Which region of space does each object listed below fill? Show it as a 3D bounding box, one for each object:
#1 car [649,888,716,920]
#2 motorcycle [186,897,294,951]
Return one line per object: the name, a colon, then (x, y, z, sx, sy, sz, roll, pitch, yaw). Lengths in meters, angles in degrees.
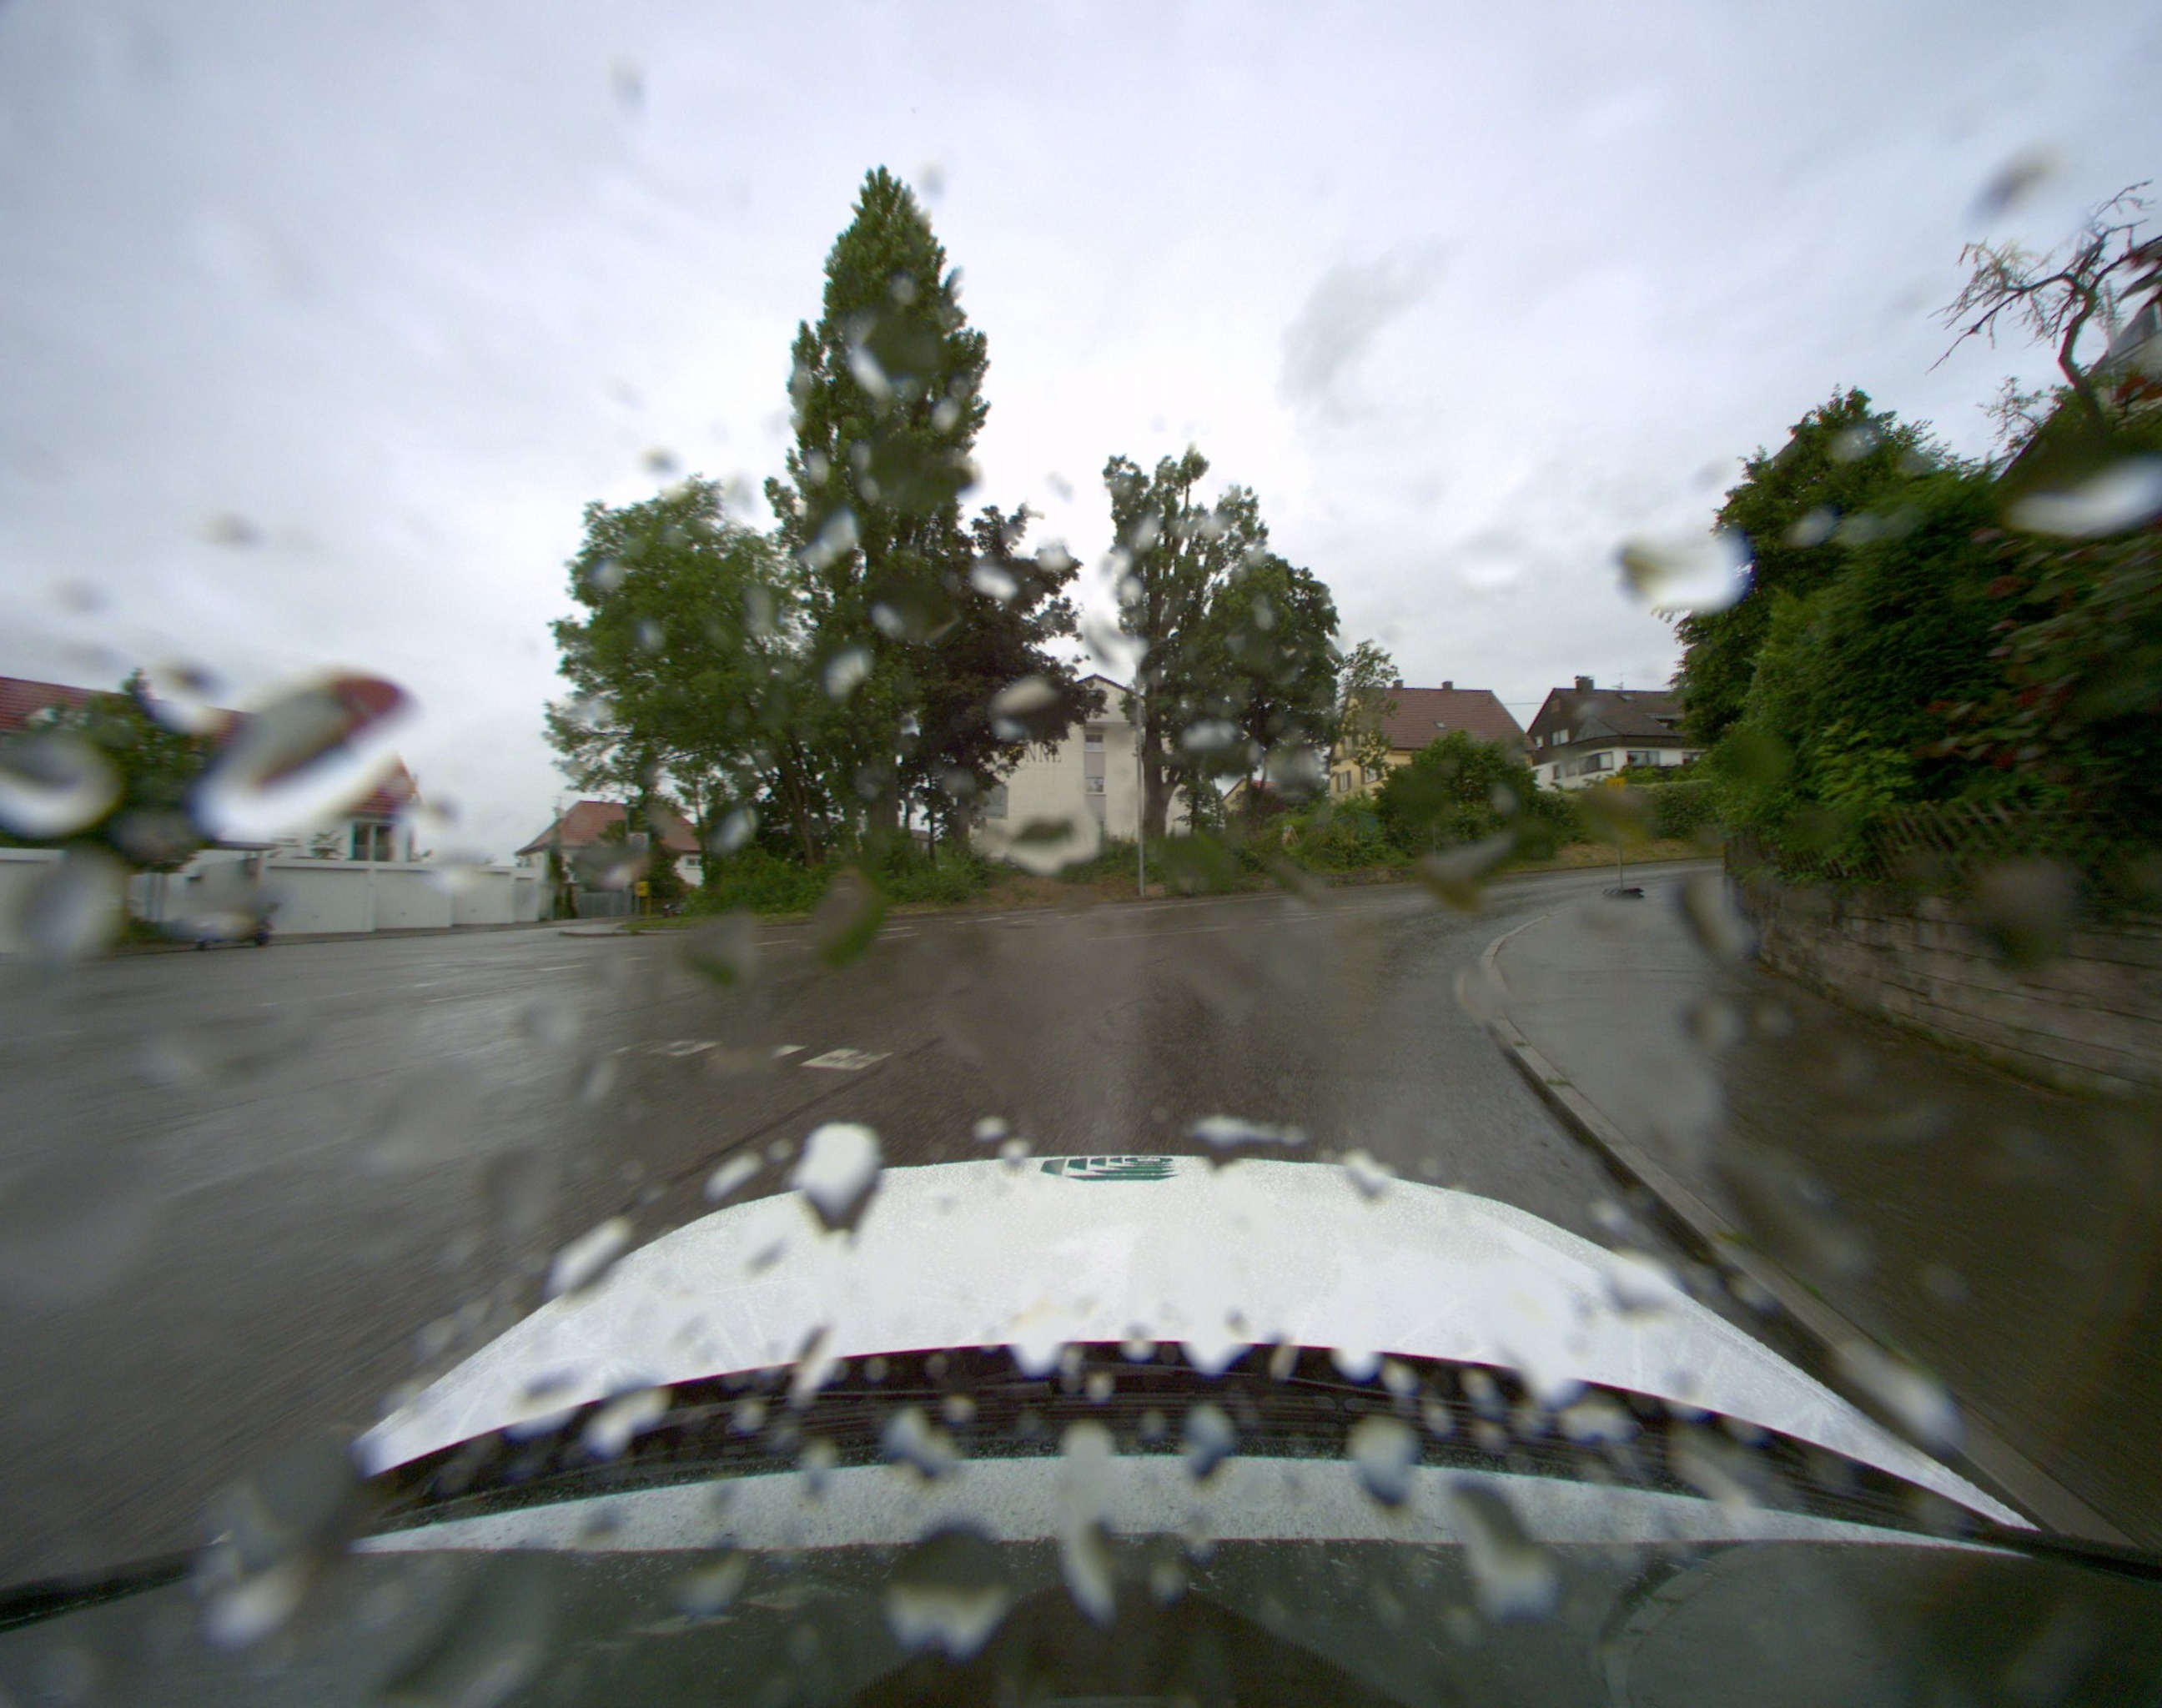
car: (-22.040, 2.745, 45.197, 1.990, 1.508, 3.993, -1, -1, -5)
motorcycle: (-23.070, 1.897, 22.409, 0.703, 1.322, 2.050, -2, -1, 7)
